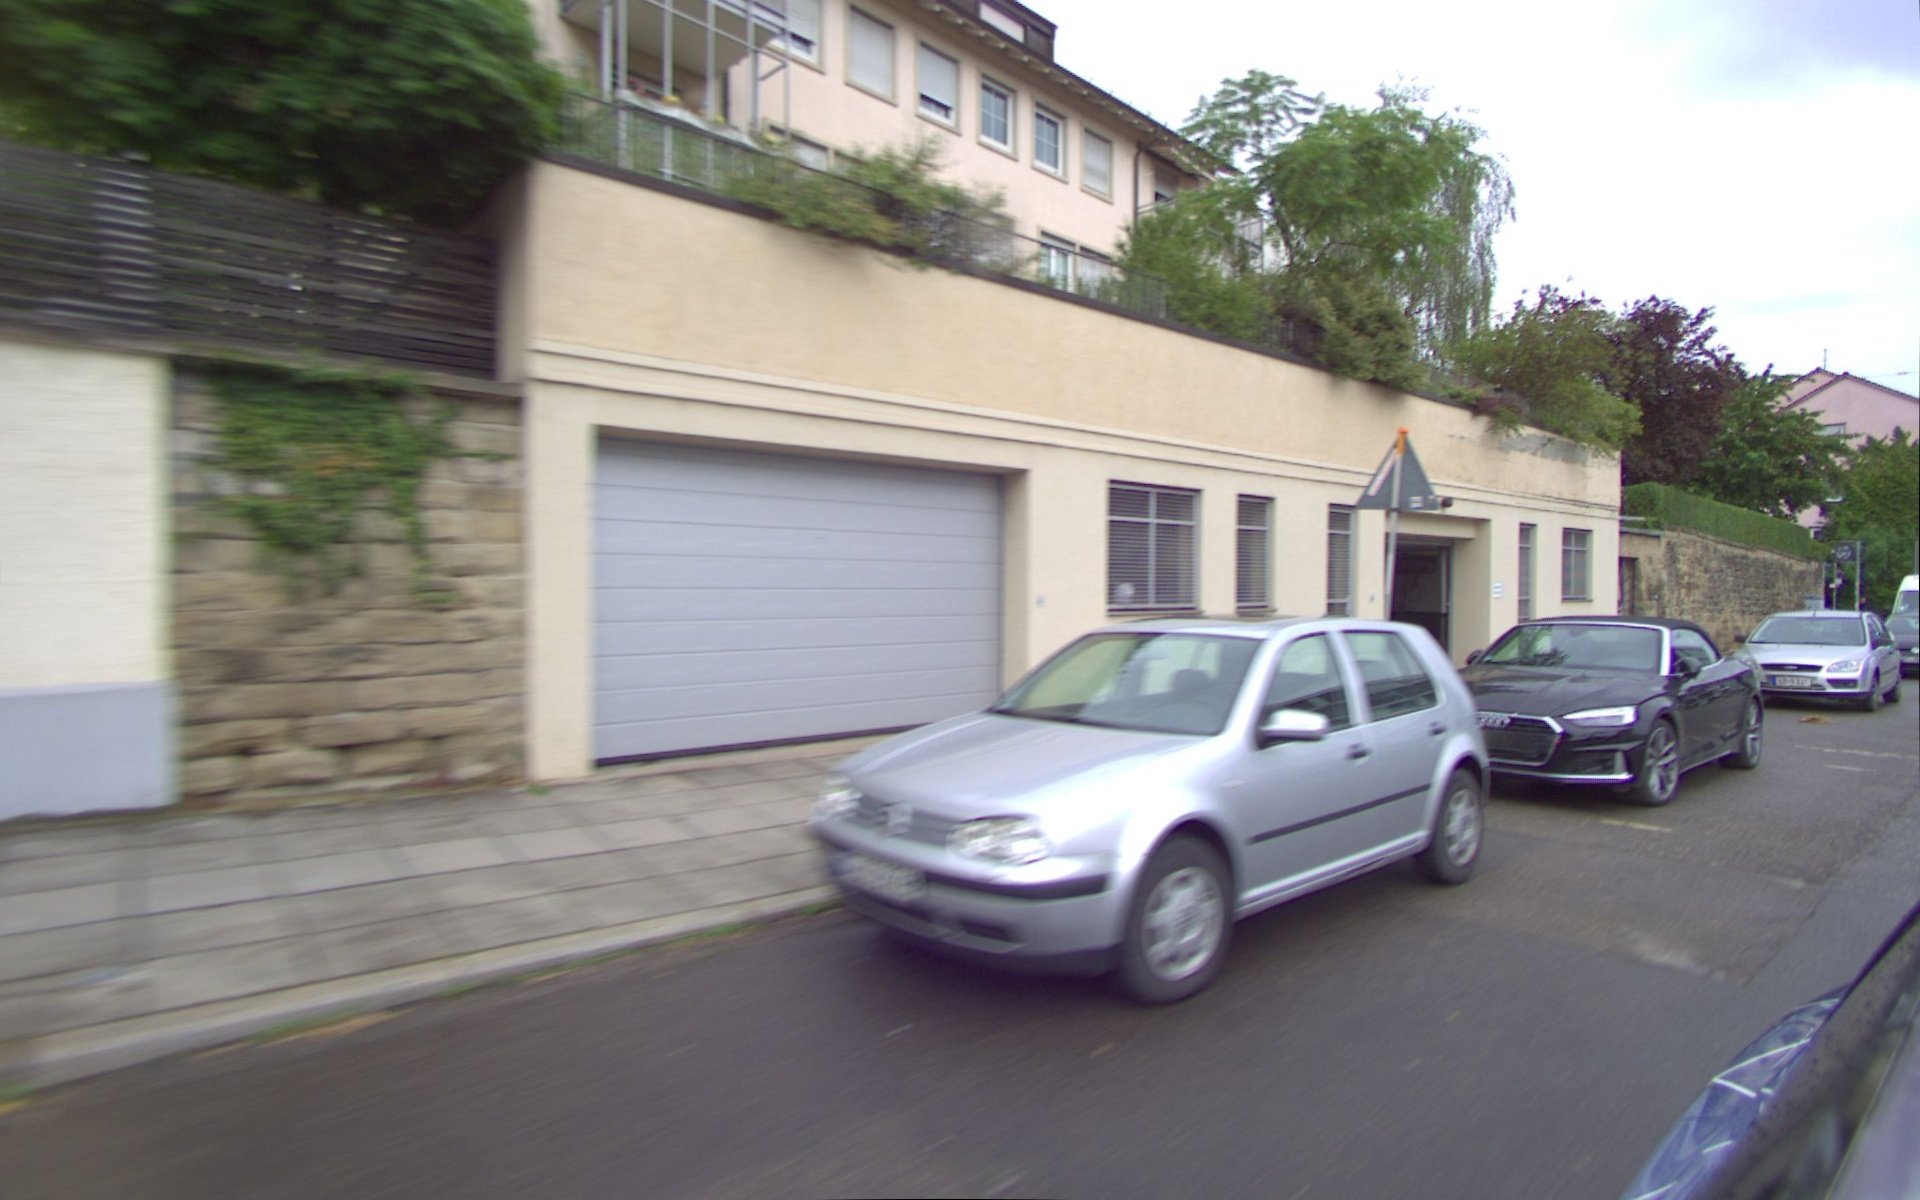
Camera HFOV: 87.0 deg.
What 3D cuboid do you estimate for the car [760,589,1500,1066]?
[{"bbox_3d":[1.056,0.734,4.981,3.693,1.472,1.632,1,-1,-41],"label":"car"}]

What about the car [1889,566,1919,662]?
[{"bbox_3d":[27.468,0.402,27.744,5.971,2.495,2.209,1,-1,-40],"label":"car"}]

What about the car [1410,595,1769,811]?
[{"bbox_3d":[5.546,0.730,8.746,3.693,1.472,1.632,1,-1,-41],"label":"car"}]

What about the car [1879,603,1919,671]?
[{"bbox_3d":[22.388,0.832,23.051,4.161,1.472,1.691,1,-1,-41],"label":"car"}]

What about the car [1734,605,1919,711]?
[{"bbox_3d":[13.876,0.841,16.090,4.161,1.472,1.691,1,-1,-41],"label":"car"}]

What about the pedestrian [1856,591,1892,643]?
[{"bbox_3d":[31.057,0.574,34.385,0.889,1.736,0.725,2,1,-39],"label":"pedestrian"}]
